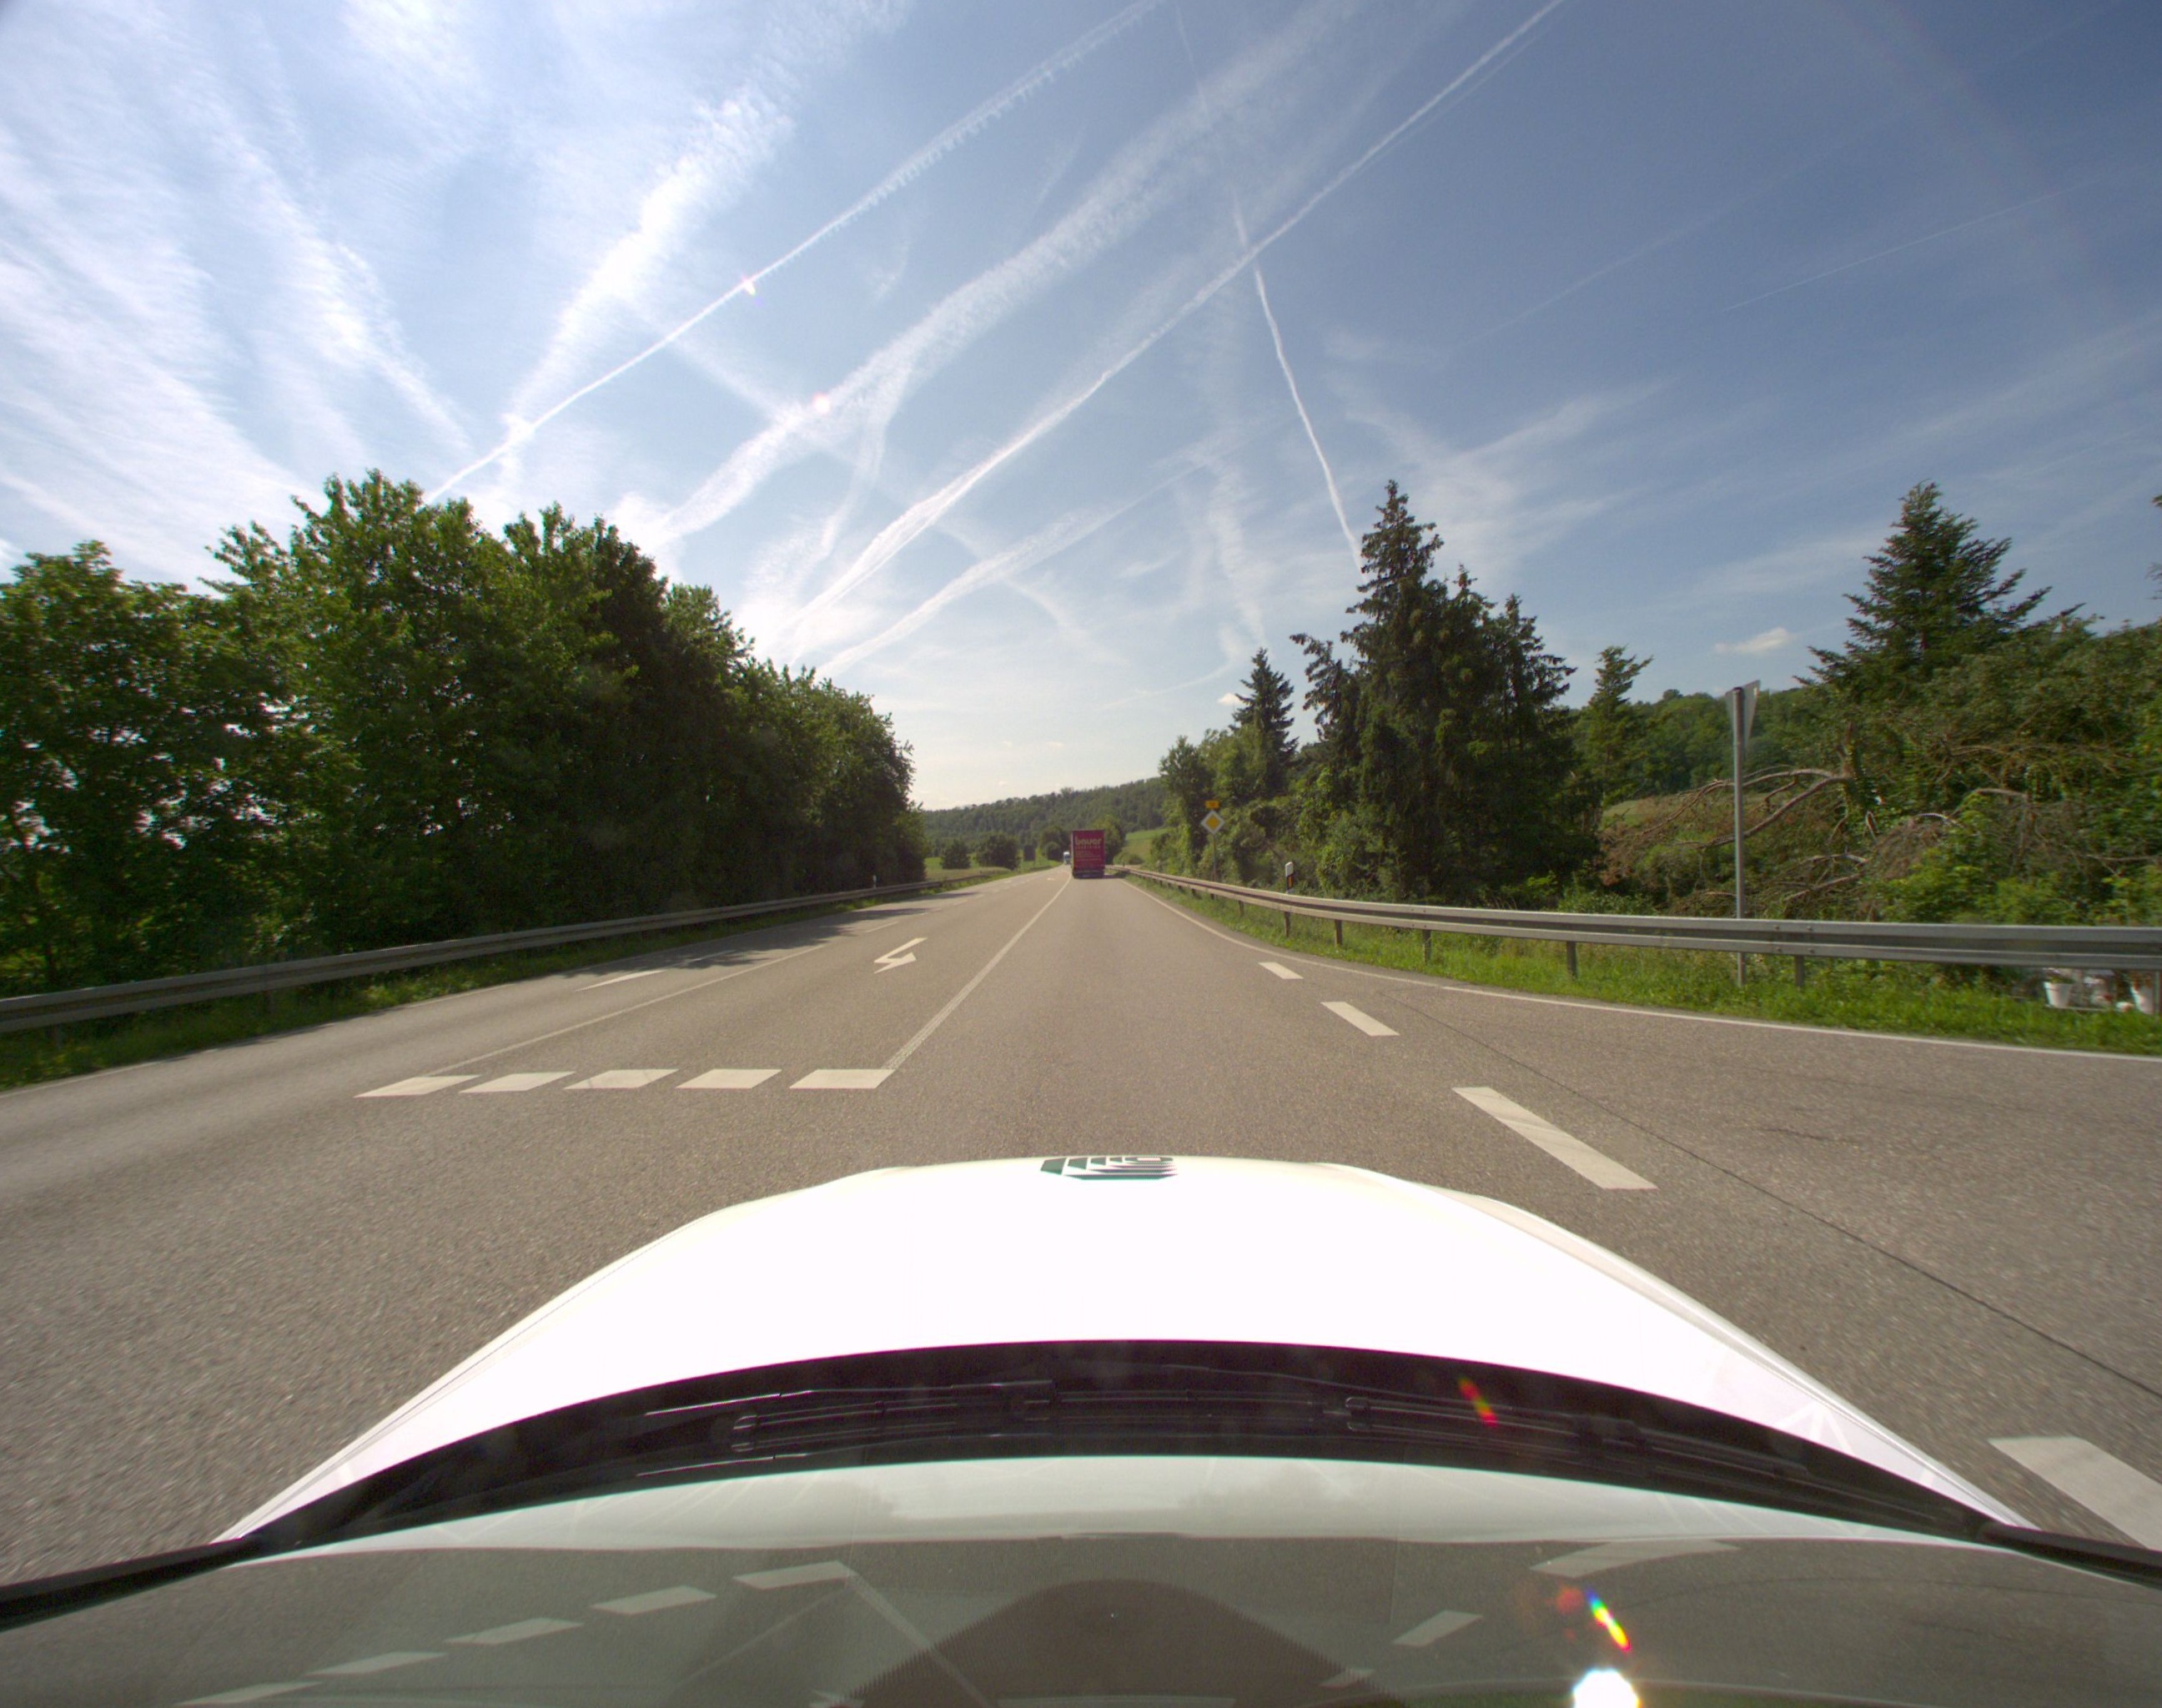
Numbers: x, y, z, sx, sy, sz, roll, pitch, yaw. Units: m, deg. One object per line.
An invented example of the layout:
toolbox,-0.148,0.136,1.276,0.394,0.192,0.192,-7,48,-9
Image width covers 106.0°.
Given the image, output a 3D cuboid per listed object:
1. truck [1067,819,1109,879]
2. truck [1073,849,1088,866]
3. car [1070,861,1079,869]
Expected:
truck,0.507,-0.338,71.166,3.163,4.625,13.539,-2,0,0
truck,-0.179,1.029,217.067,3.893,4.370,13.288,0,-1,0
car,-1.554,2.470,185.492,1.988,1.810,3.998,1,-1,-1
